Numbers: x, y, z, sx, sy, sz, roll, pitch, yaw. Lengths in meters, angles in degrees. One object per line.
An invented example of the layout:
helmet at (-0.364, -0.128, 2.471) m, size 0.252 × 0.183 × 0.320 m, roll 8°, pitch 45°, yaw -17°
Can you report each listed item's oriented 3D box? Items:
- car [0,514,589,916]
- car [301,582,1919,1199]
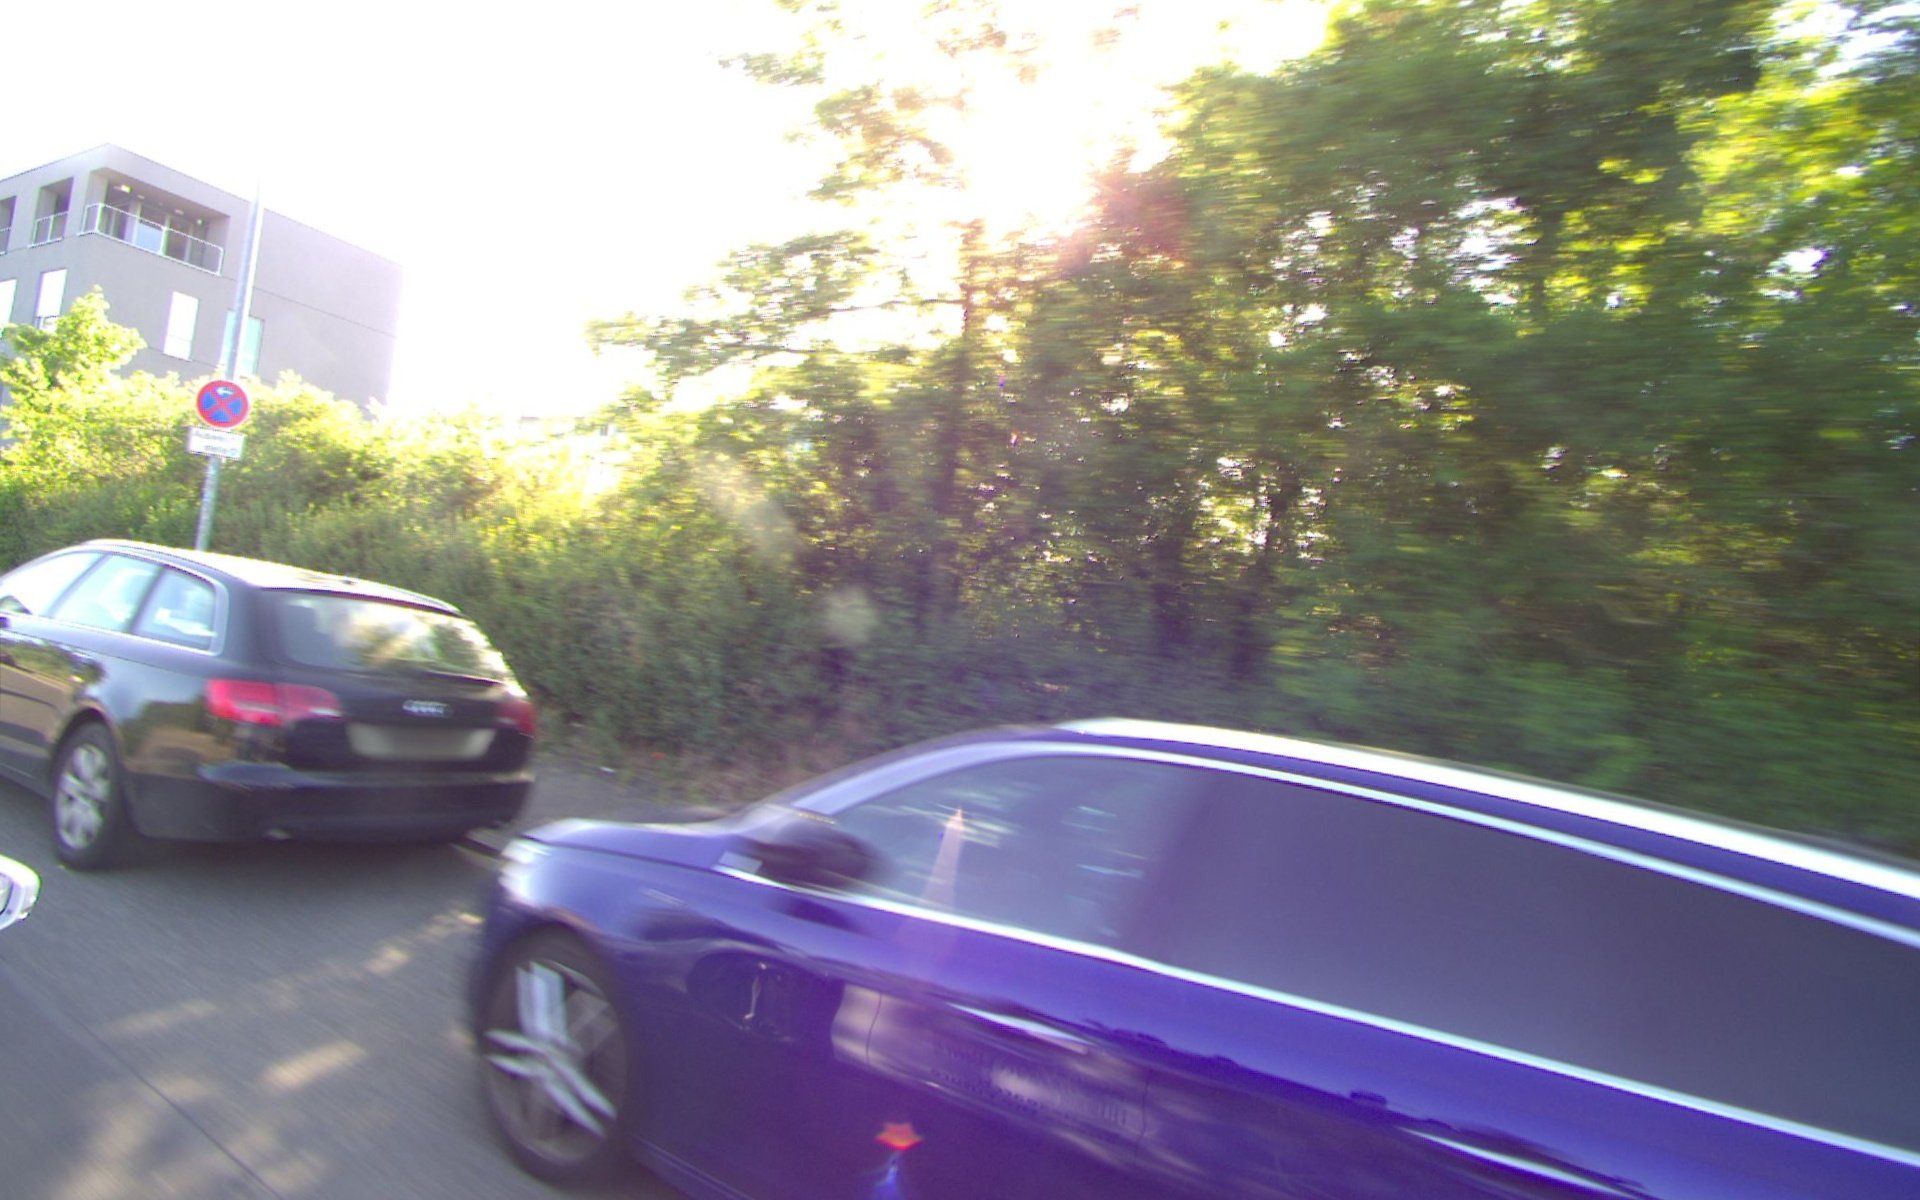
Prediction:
car at (-4.498, 0.413, 5.804) m, size 4.577 × 1.427 × 1.760 m, roll 7°, pitch -5°, yaw 30°
car at (0.426, 1.014, 2.686) m, size 4.578 × 1.459 × 1.661 m, roll 7°, pitch -5°, yaw 31°
